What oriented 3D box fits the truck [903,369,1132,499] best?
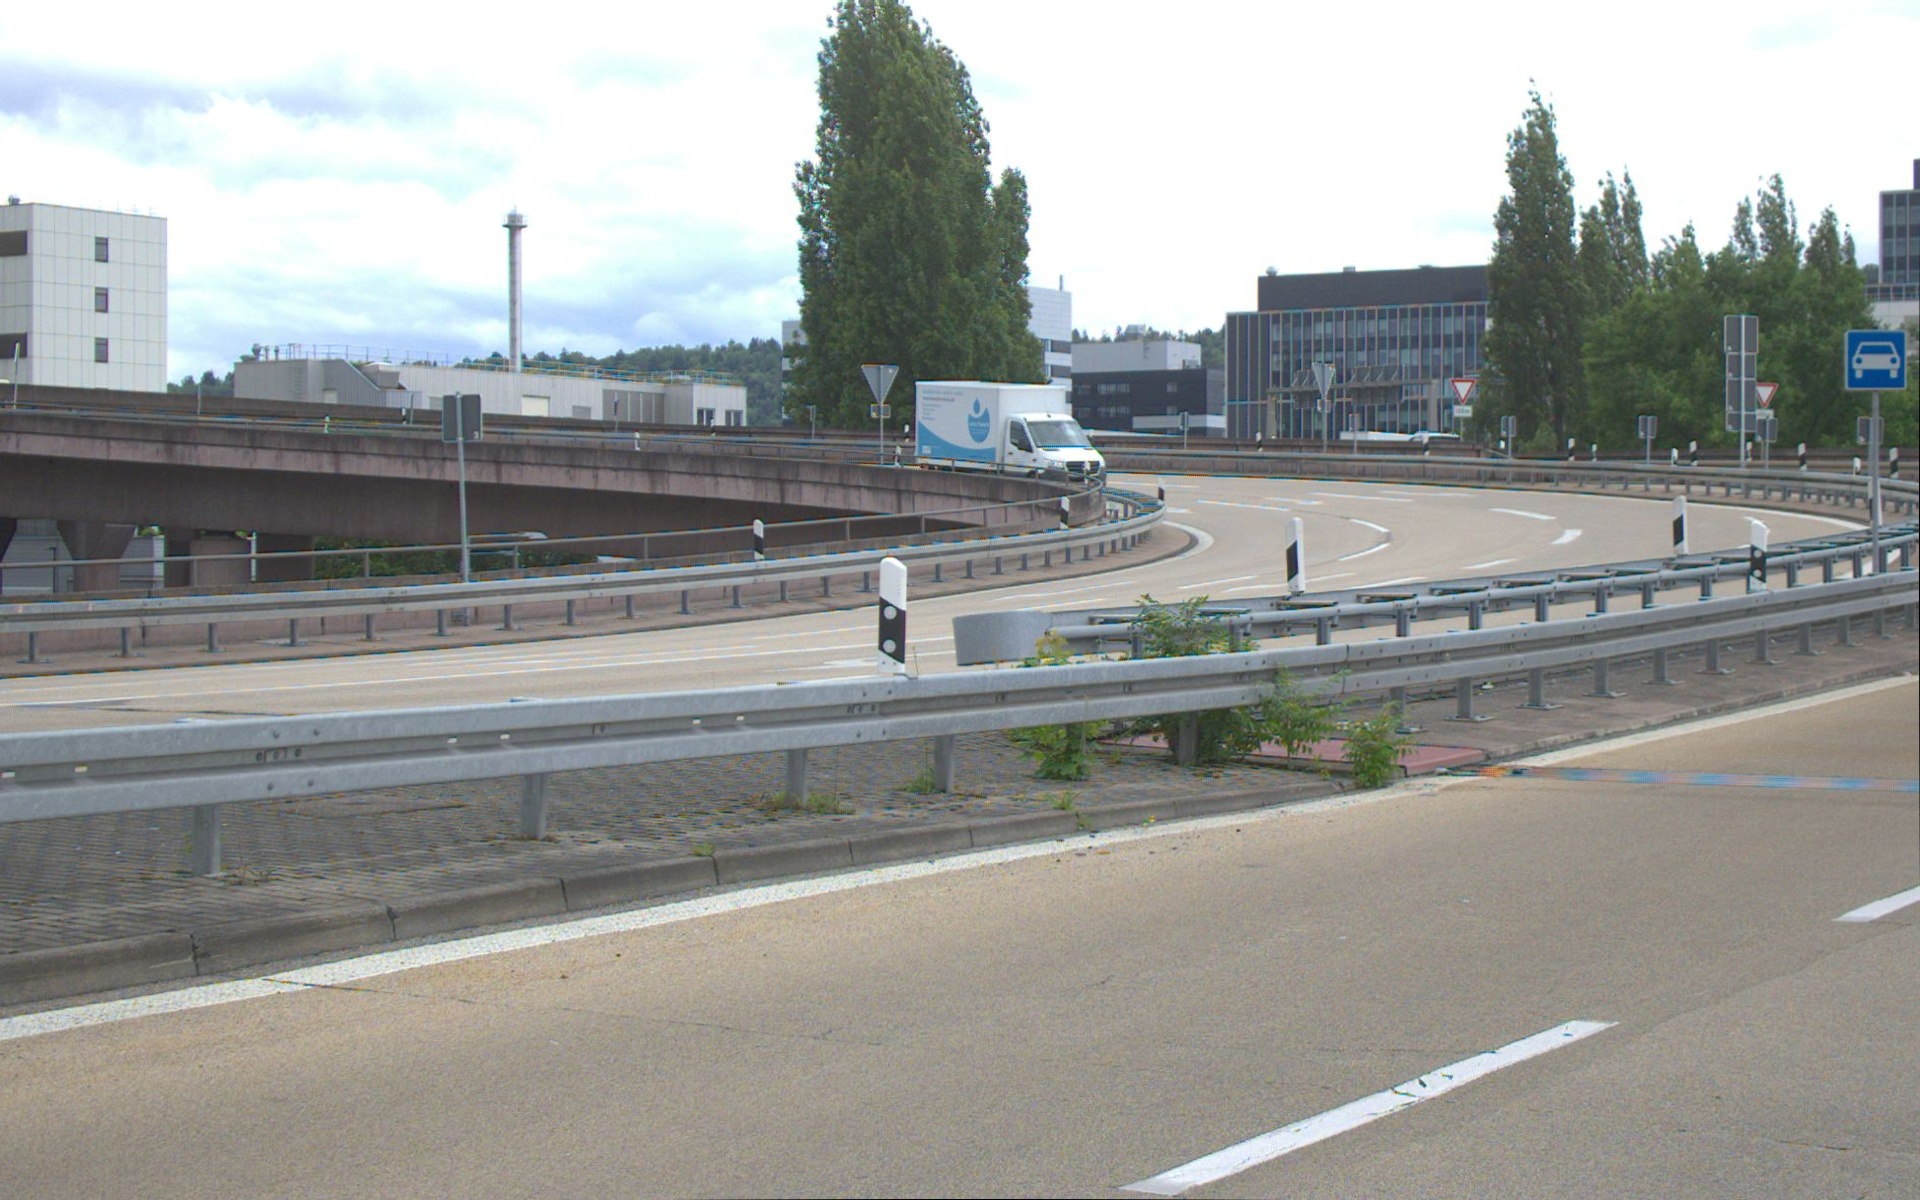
[{"bbox_3d":[1.484,-4.548,93.428,2.345,3.252,6.995,1,4,-36],"label":"truck"}]
